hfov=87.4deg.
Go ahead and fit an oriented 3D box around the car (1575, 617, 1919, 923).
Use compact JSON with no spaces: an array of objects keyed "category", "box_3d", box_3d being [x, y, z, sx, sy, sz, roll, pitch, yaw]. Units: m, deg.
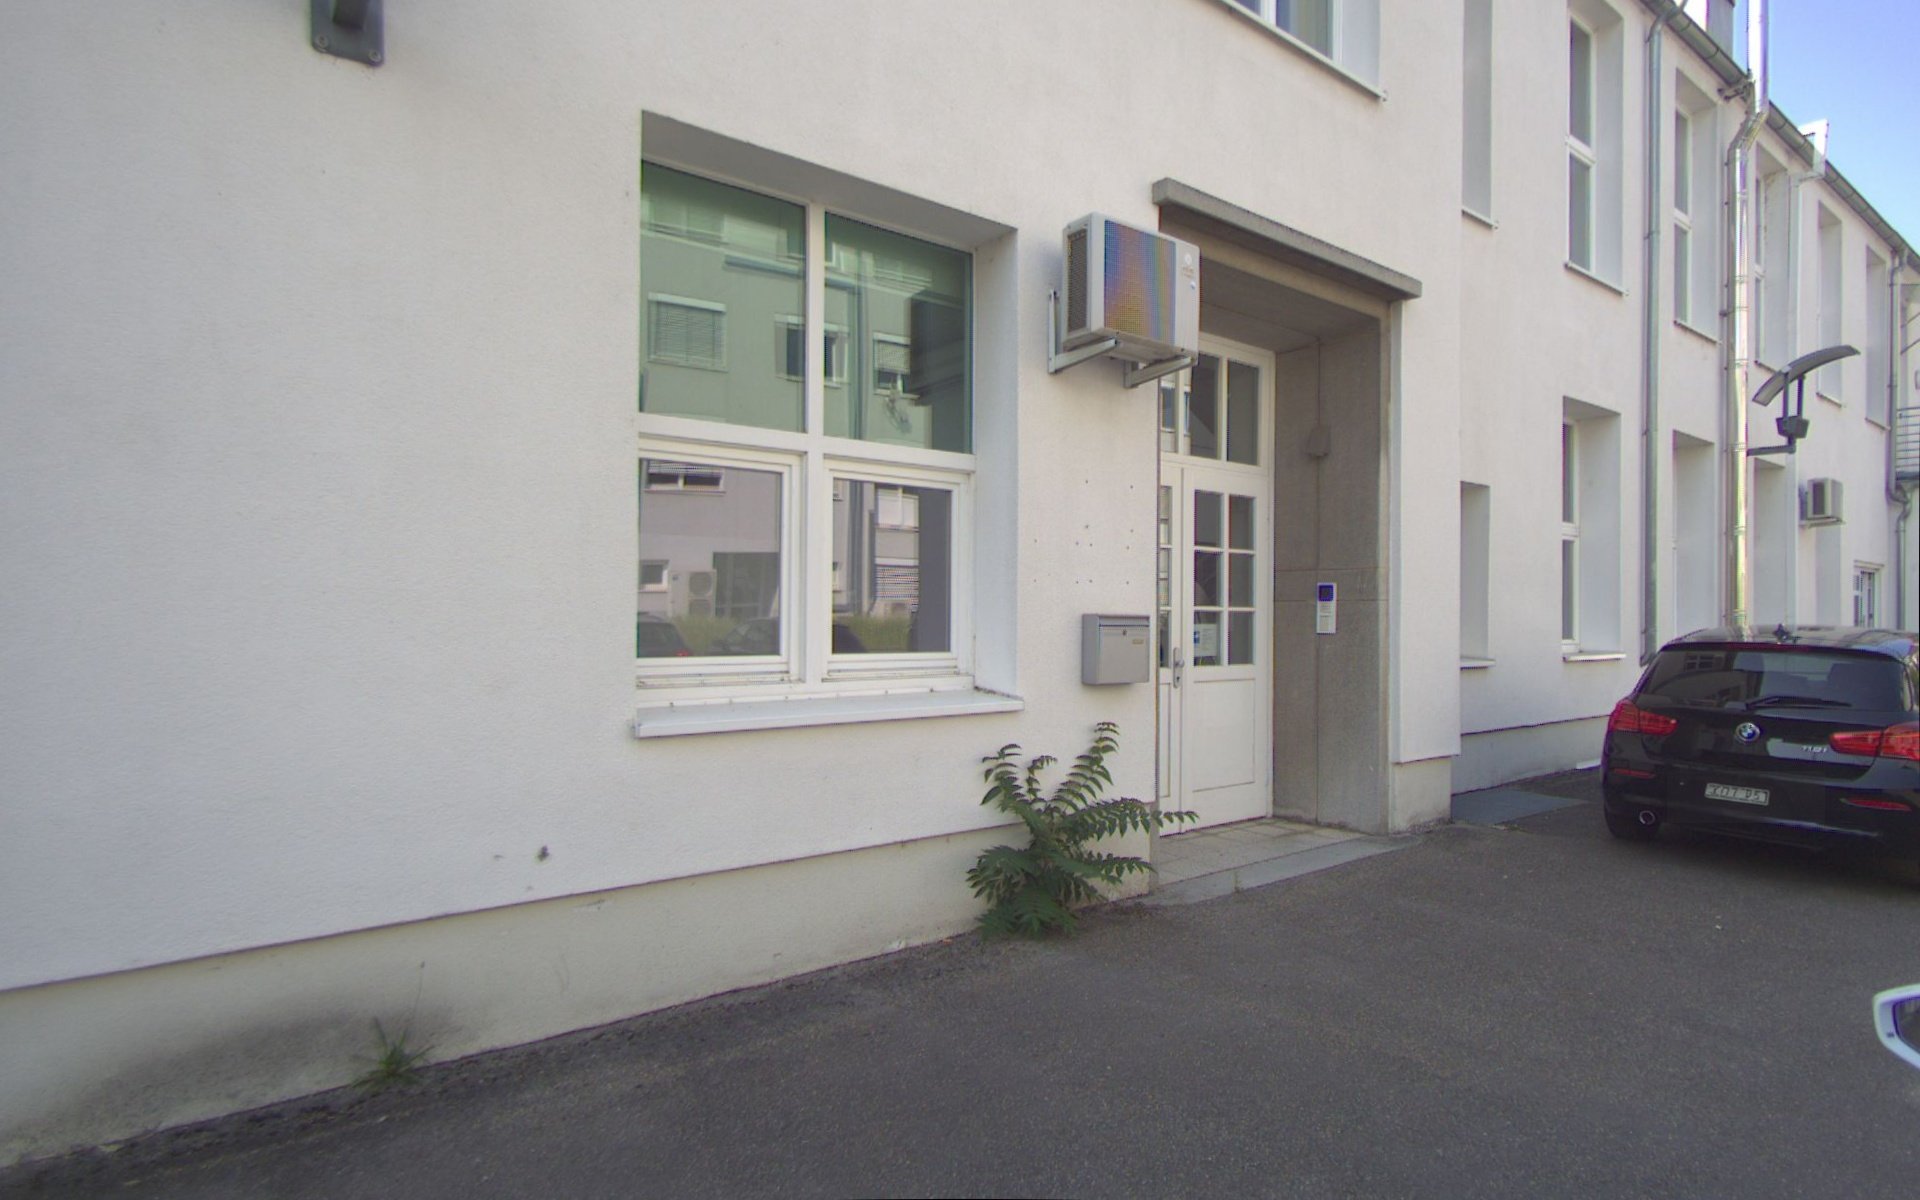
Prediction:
[{"category":"car","box_3d":[5.807,0.893,6.713,3.889,1.478,1.675,2,-1,-39]}]
